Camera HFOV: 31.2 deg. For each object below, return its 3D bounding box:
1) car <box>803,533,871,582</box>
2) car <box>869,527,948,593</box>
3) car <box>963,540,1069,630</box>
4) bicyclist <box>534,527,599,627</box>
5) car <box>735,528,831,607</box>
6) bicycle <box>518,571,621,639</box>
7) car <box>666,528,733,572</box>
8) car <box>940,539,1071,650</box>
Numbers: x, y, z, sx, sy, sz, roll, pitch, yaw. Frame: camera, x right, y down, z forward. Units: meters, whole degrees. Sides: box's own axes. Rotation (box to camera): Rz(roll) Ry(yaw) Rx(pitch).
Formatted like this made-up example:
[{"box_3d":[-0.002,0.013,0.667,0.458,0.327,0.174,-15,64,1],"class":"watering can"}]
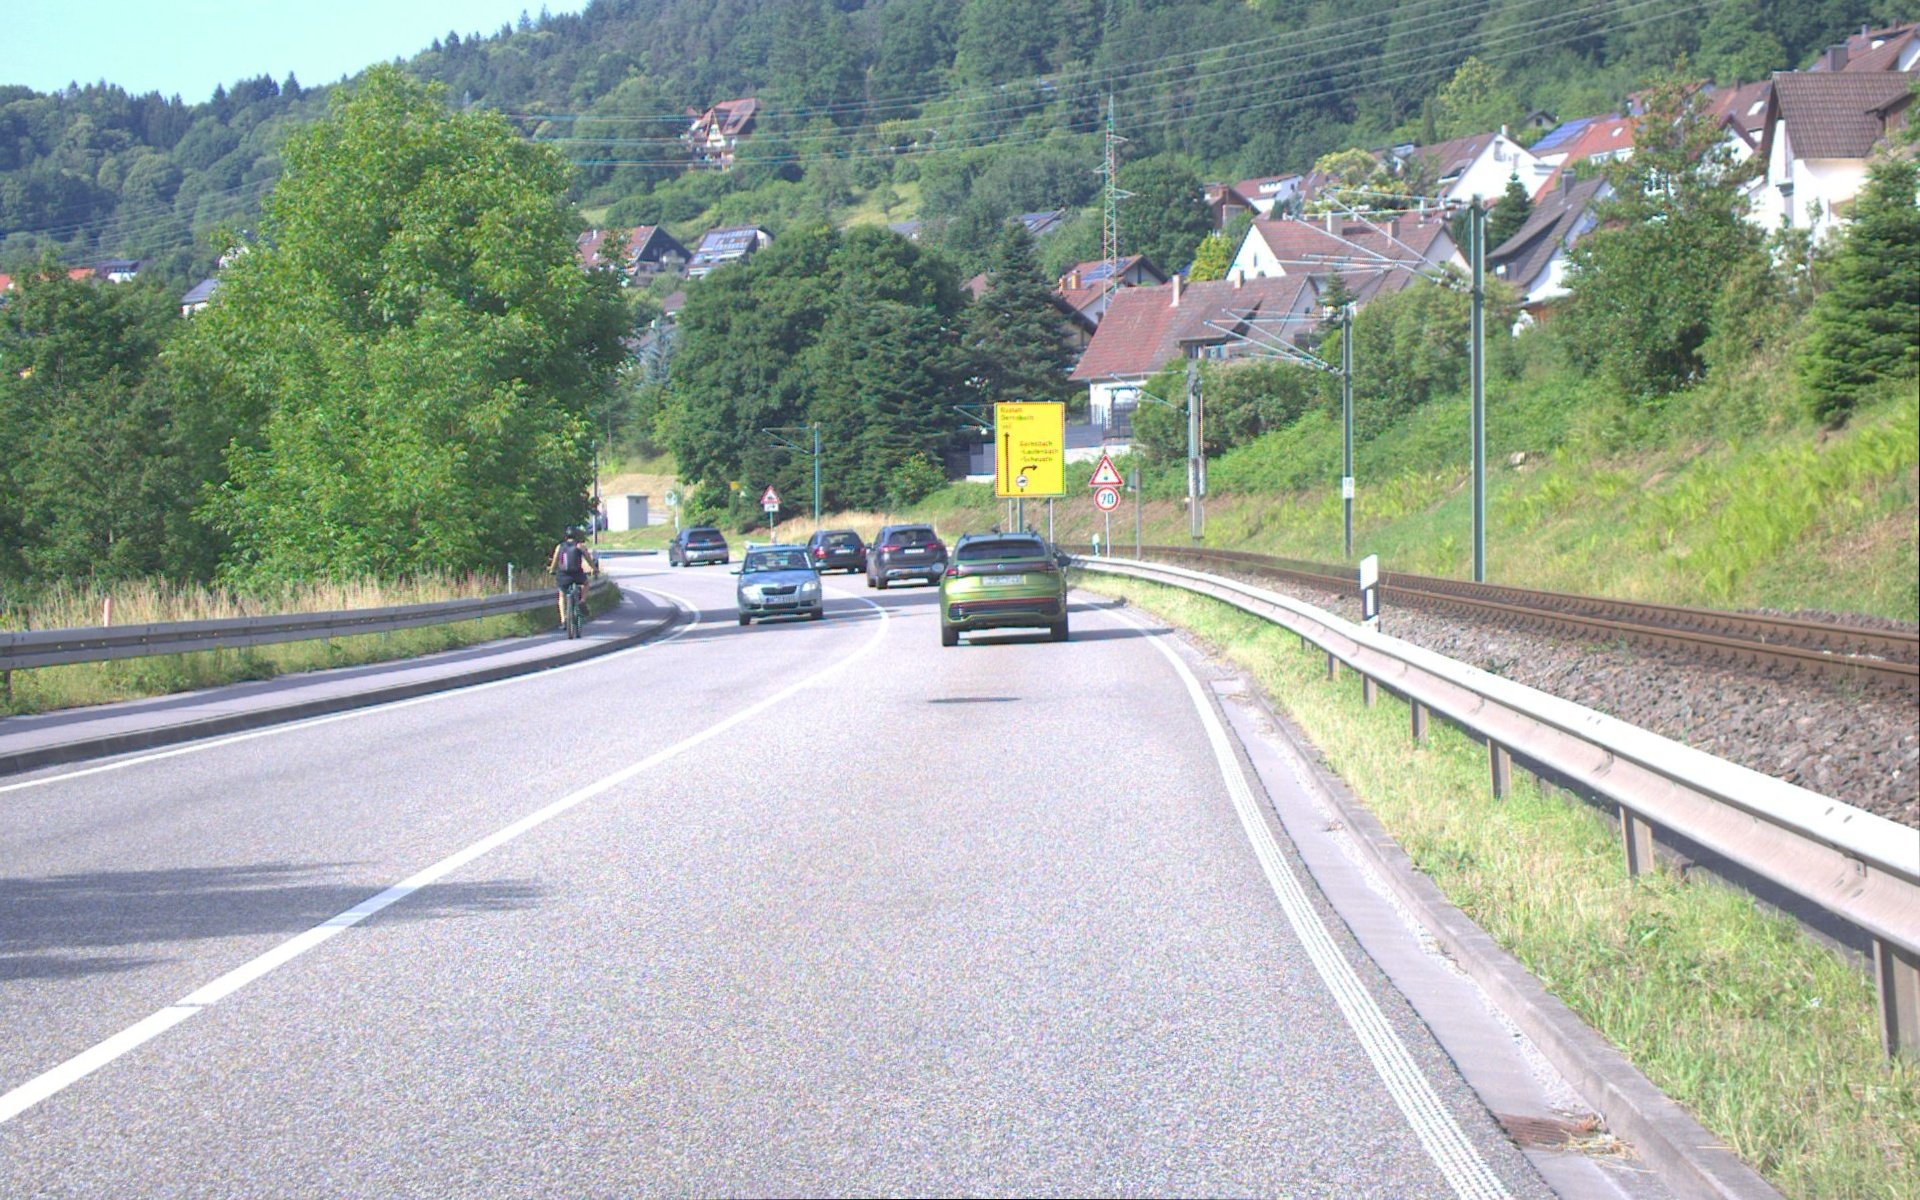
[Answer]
[{"box_3d":[-4.037,-1.391,112.235,1.848,1.521,3.663,1,1,-7],"class":"car"},{"box_3d":[-1.378,-1.064,90.894,1.880,1.681,4.001,1,1,-3],"class":"car"},{"box_3d":[0.975,-0.285,61.610,1.667,1.554,4.000,0,1,-2],"class":"car"},{"box_3d":[-6.304,-0.376,55.121,0.558,1.581,1.034,2,2,25],"class":"bicyclist"},{"box_3d":[-3.448,-0.654,67.564,1.577,1.474,4.000,1,1,1],"class":"car"},{"box_3d":[-6.262,0.070,55.272,0.558,1.042,2.226,2,2,25],"class":"bicycle"},{"box_3d":[-11.035,-2.133,145.573,2.062,1.805,4.001,1,1,-16],"class":"car"},{"box_3d":[0.609,-0.112,47.394,1.714,1.450,4.000,-1,1,0],"class":"car"}]
